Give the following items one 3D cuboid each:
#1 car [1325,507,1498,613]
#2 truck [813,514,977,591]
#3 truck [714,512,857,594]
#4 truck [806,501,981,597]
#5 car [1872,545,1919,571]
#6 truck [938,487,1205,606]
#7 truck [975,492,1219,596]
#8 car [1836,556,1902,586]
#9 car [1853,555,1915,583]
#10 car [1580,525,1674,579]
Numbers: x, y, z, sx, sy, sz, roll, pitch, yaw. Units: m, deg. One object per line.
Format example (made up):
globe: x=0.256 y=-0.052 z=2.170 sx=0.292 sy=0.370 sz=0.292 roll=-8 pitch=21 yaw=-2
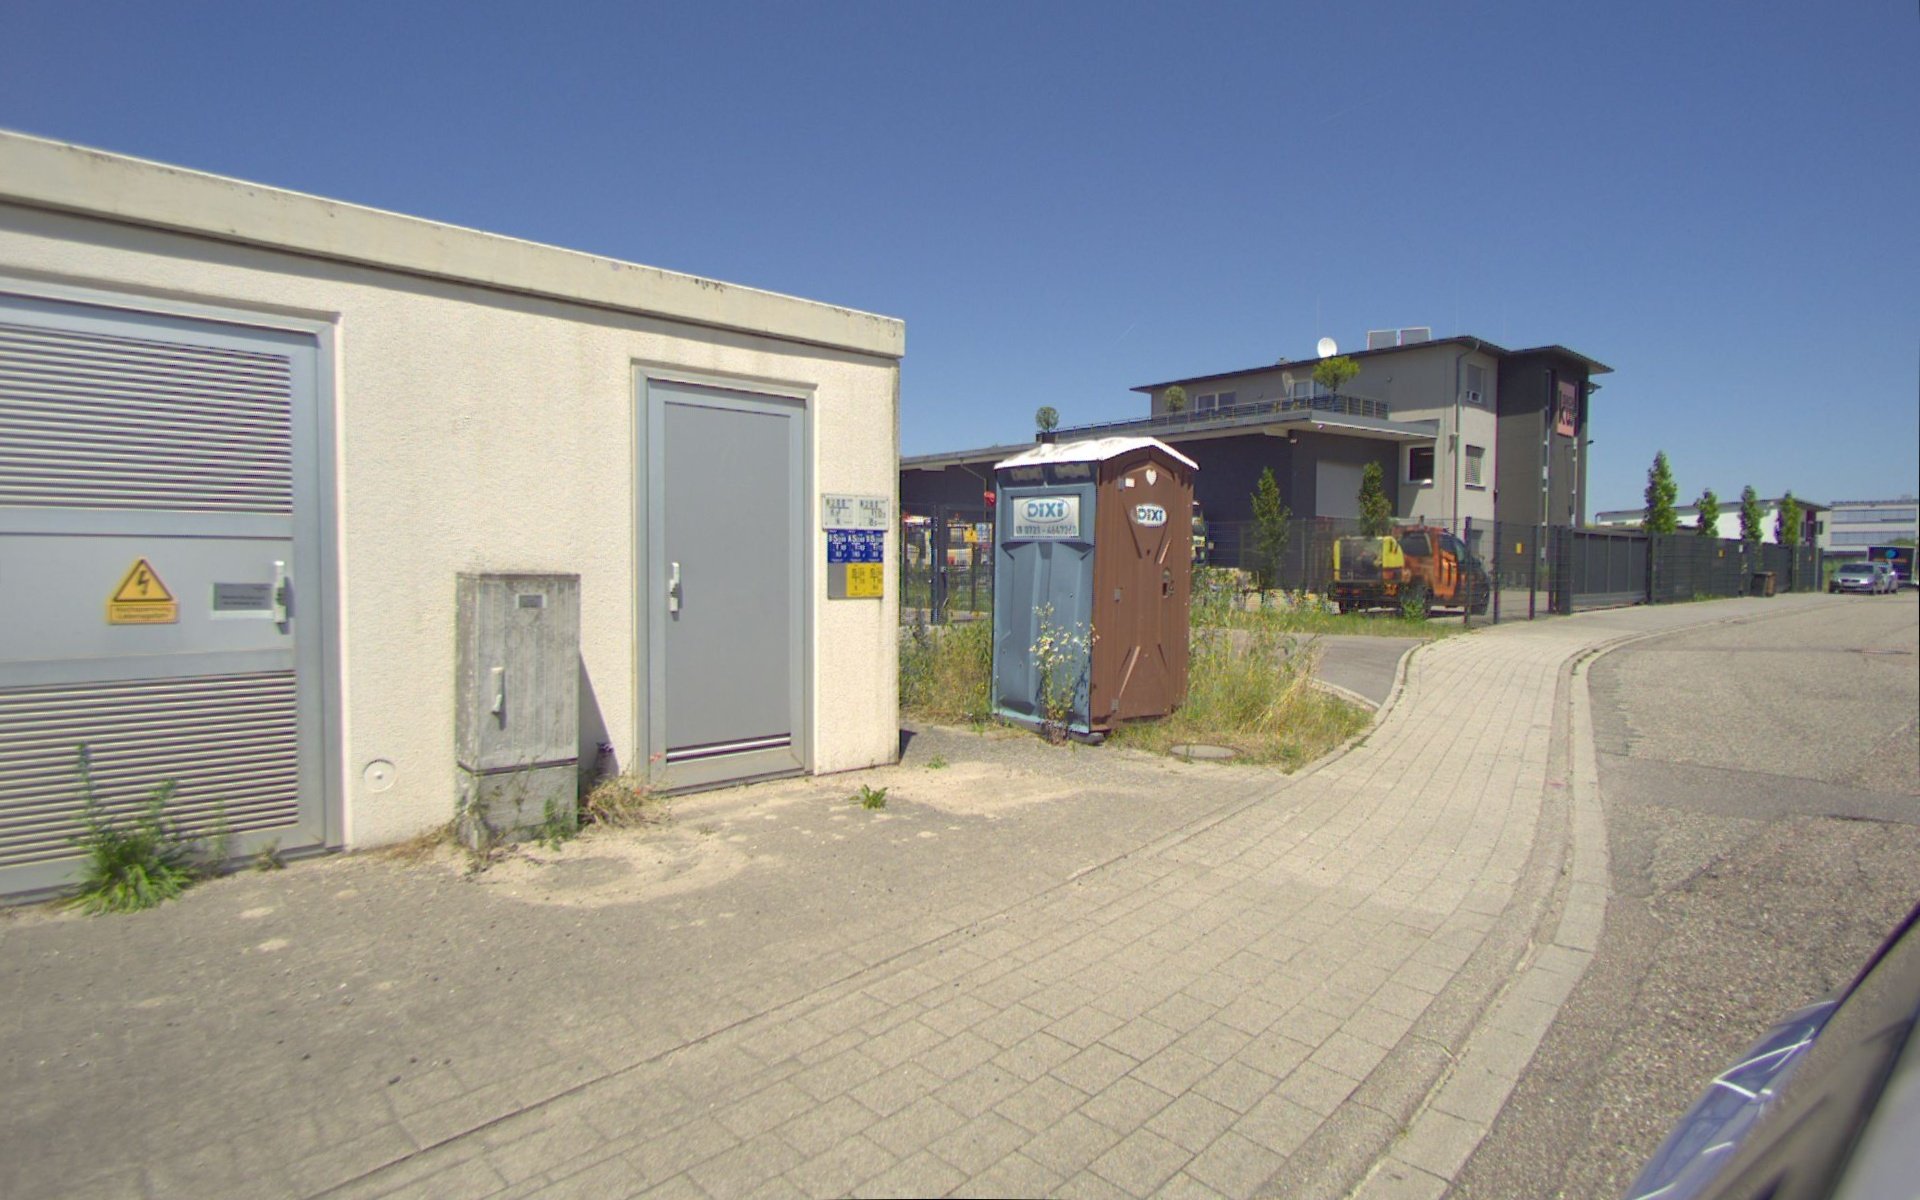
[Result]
car: x=10.398 y=-0.940 z=23.136 sx=4.700 sy=2.188 sz=1.917 roll=-3 pitch=3 yaw=-42
truck: x=-3.007 y=-2.045 z=44.227 sx=2.643 sy=3.059 sz=8.349 roll=-3 pitch=3 yaw=-41
truck: x=-7.261 y=-1.886 z=41.313 sx=2.453 sy=3.059 sz=7.022 roll=-3 pitch=3 yaw=-41
truck: x=-2.508 y=-1.752 z=35.912 sx=2.453 sy=3.059 sz=7.022 roll=-3 pitch=3 yaw=-41
car: x=49.659 y=-2.243 z=53.380 sx=3.819 sy=1.292 sz=1.827 roll=-3 pitch=4 yaw=-41
truck: x=3.012 y=-1.516 z=29.958 sx=2.580 sy=3.059 sz=8.349 roll=-3 pitch=3 yaw=-41
truck: x=4.481 y=-1.870 z=35.363 sx=2.643 sy=3.215 sz=8.960 roll=-3 pitch=3 yaw=-41
car: x=41.981 y=-1.355 z=46.725 sx=3.819 sy=1.292 sz=1.827 roll=-3 pitch=4 yaw=-41
car: x=45.547 y=-1.541 z=49.868 sx=3.819 sy=1.292 sz=1.827 roll=-3 pitch=4 yaw=-41
car: x=23.767 y=-1.716 z=36.019 sx=3.934 sy=1.816 sz=1.926 roll=-3 pitch=4 yaw=-43
